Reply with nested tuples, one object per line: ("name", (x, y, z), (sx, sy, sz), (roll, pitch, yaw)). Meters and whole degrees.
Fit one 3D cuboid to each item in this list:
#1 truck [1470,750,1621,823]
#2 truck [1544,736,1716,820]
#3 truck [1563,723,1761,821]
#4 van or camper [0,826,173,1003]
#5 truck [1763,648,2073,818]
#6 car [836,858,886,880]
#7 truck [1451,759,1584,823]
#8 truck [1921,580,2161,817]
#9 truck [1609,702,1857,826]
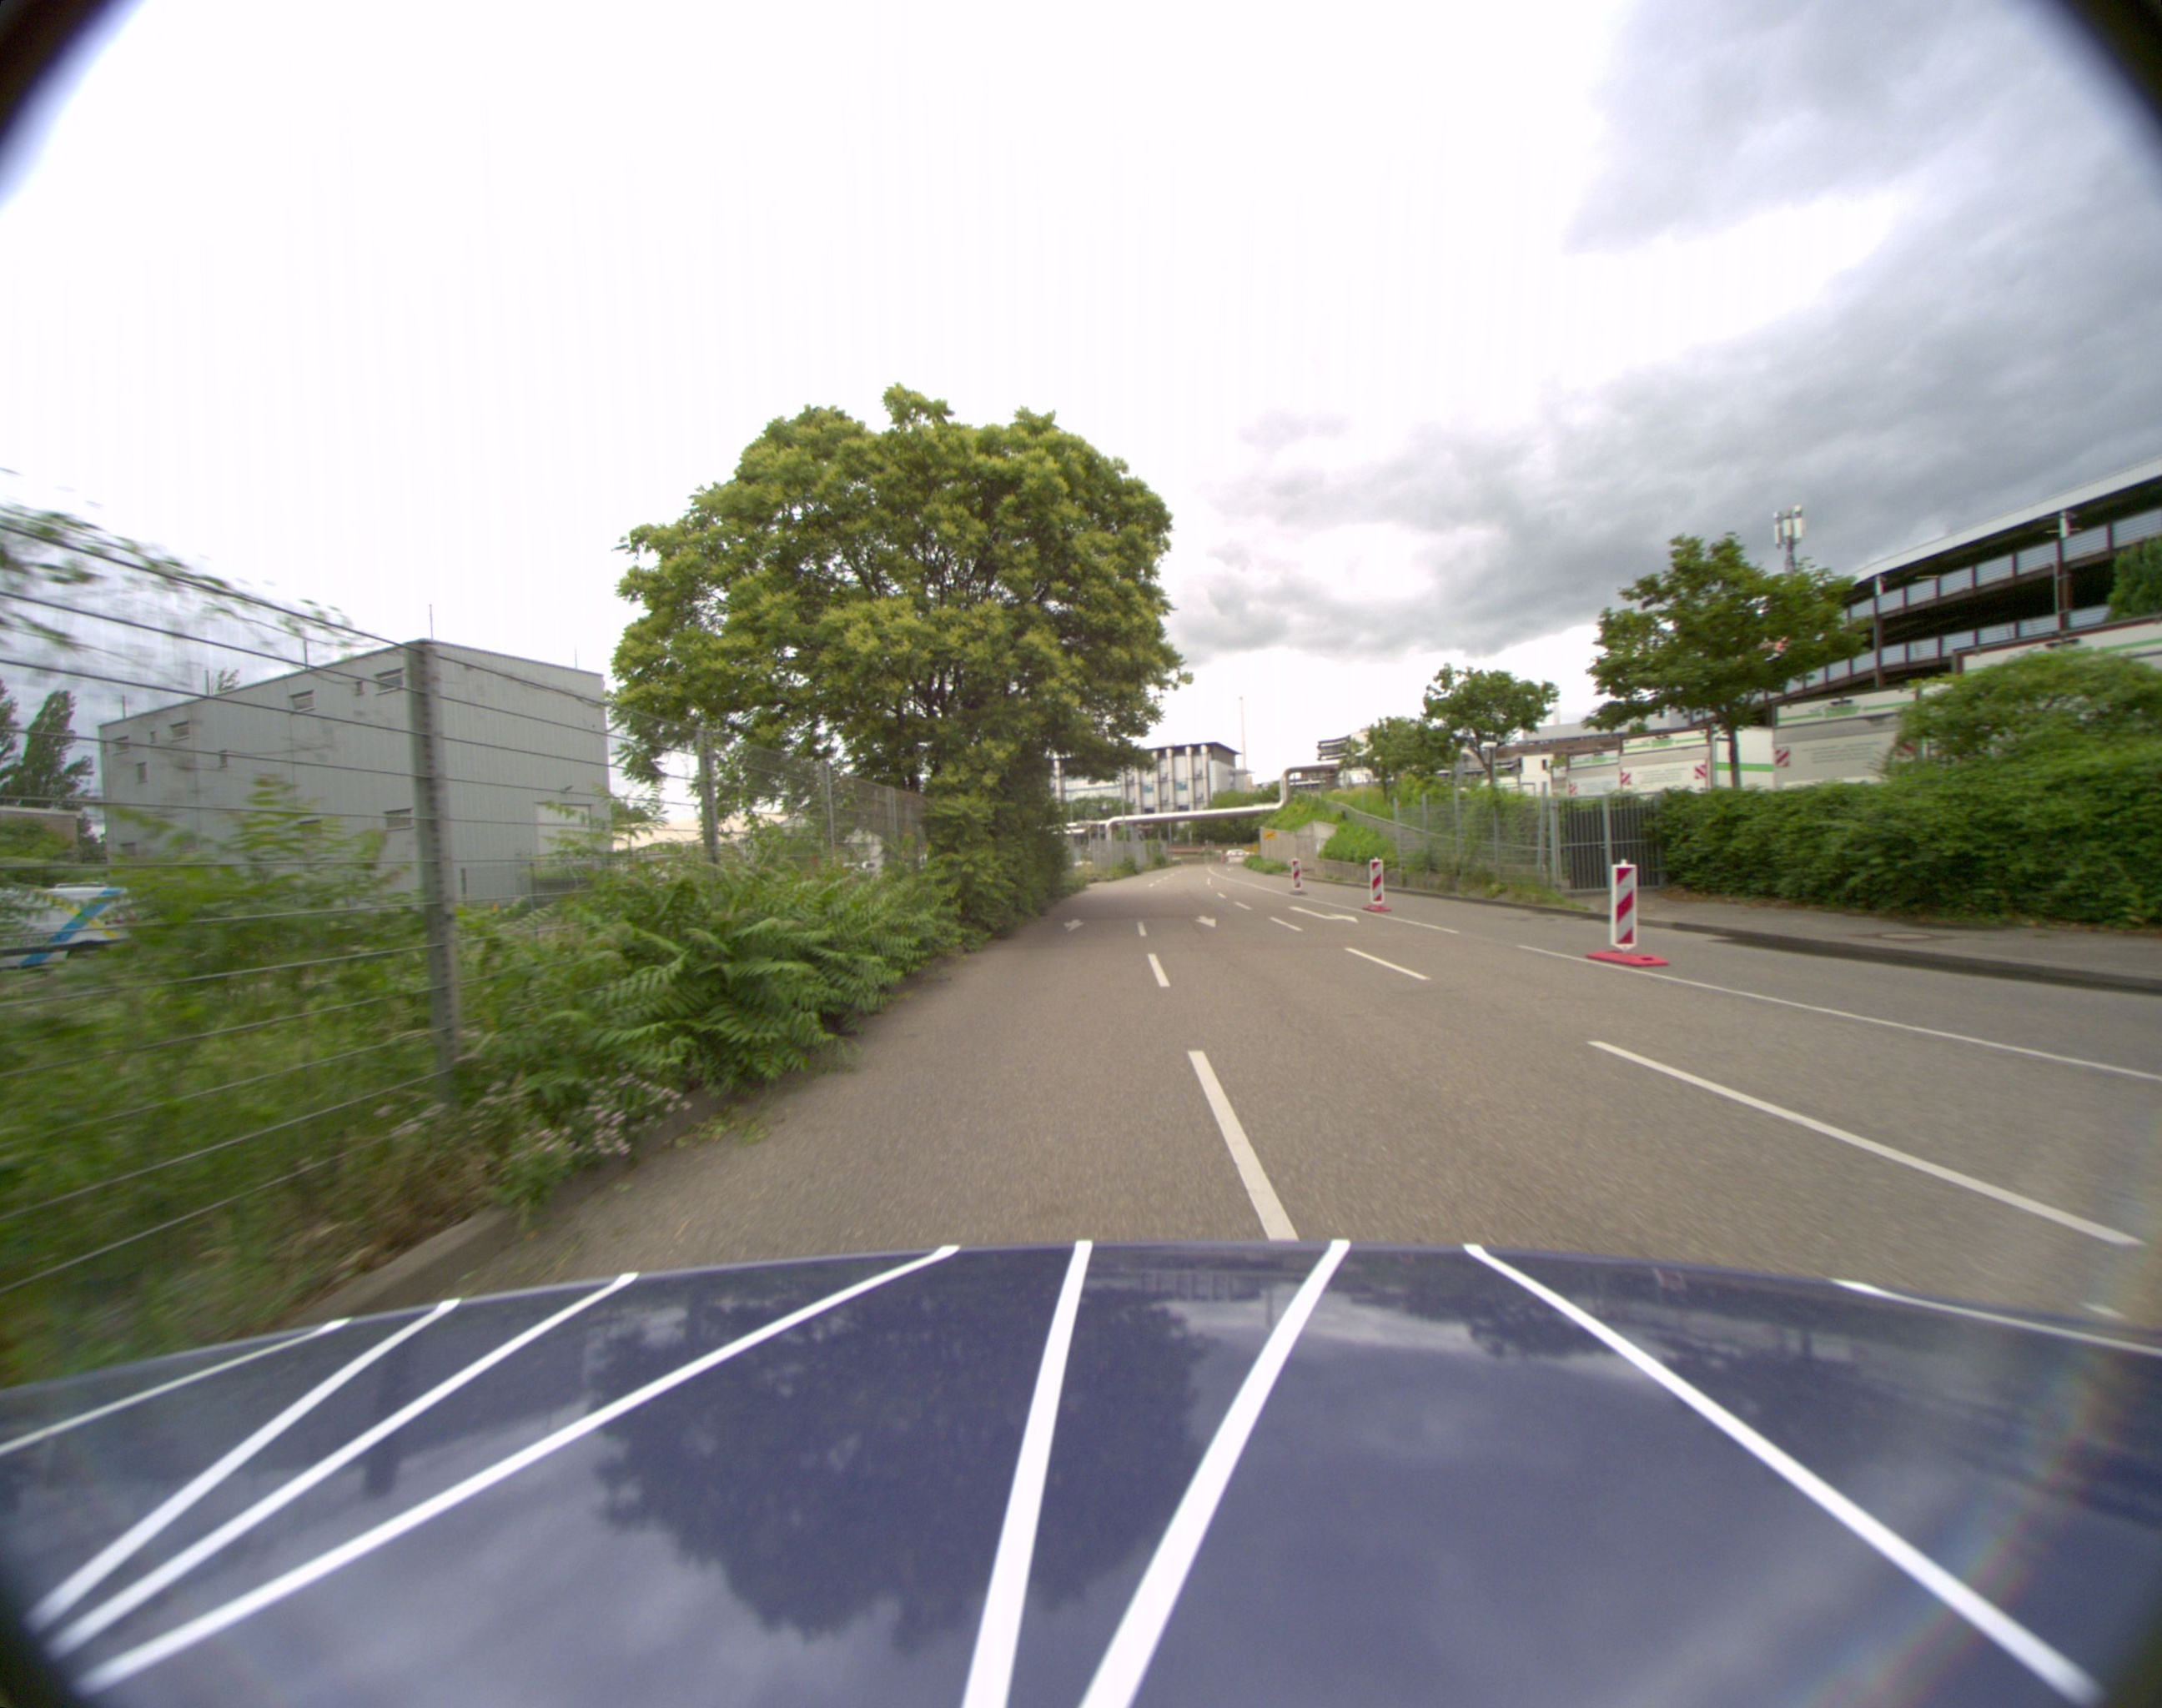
("truck", (25.238, -3.666, 41.210), (7.875, 3.519, 3.046), (-4, 2, -25))
("truck", (25.923, -3.559, 35.838), (7.875, 3.519, 3.046), (-4, 2, -25))
("truck", (23.700, -3.312, 30.948), (7.875, 3.519, 3.046), (-4, 2, -25))
("van or camper", (-33.427, 1.812, 20.289), (11.834, 4.505, 5.485), (-3, 2, 3))
("truck", (21.297, -2.872, 19.281), (7.875, 3.519, 3.046), (-4, 2, -25))
("car", (-22.068, 1.517, 76.285), (4.331, 2.002, 2.002), (-3, 0, 18))
("truck", (26.908, -3.904, 46.806), (7.875, 3.519, 3.046), (-4, 2, -25))
("truck", (19.786, -2.644, 13.972), (7.872, 3.519, 3.046), (-4, 2, -20))
("truck", (21.583, -2.892, 25.067), (8.163, 3.519, 3.046), (-4, 2, -25))
